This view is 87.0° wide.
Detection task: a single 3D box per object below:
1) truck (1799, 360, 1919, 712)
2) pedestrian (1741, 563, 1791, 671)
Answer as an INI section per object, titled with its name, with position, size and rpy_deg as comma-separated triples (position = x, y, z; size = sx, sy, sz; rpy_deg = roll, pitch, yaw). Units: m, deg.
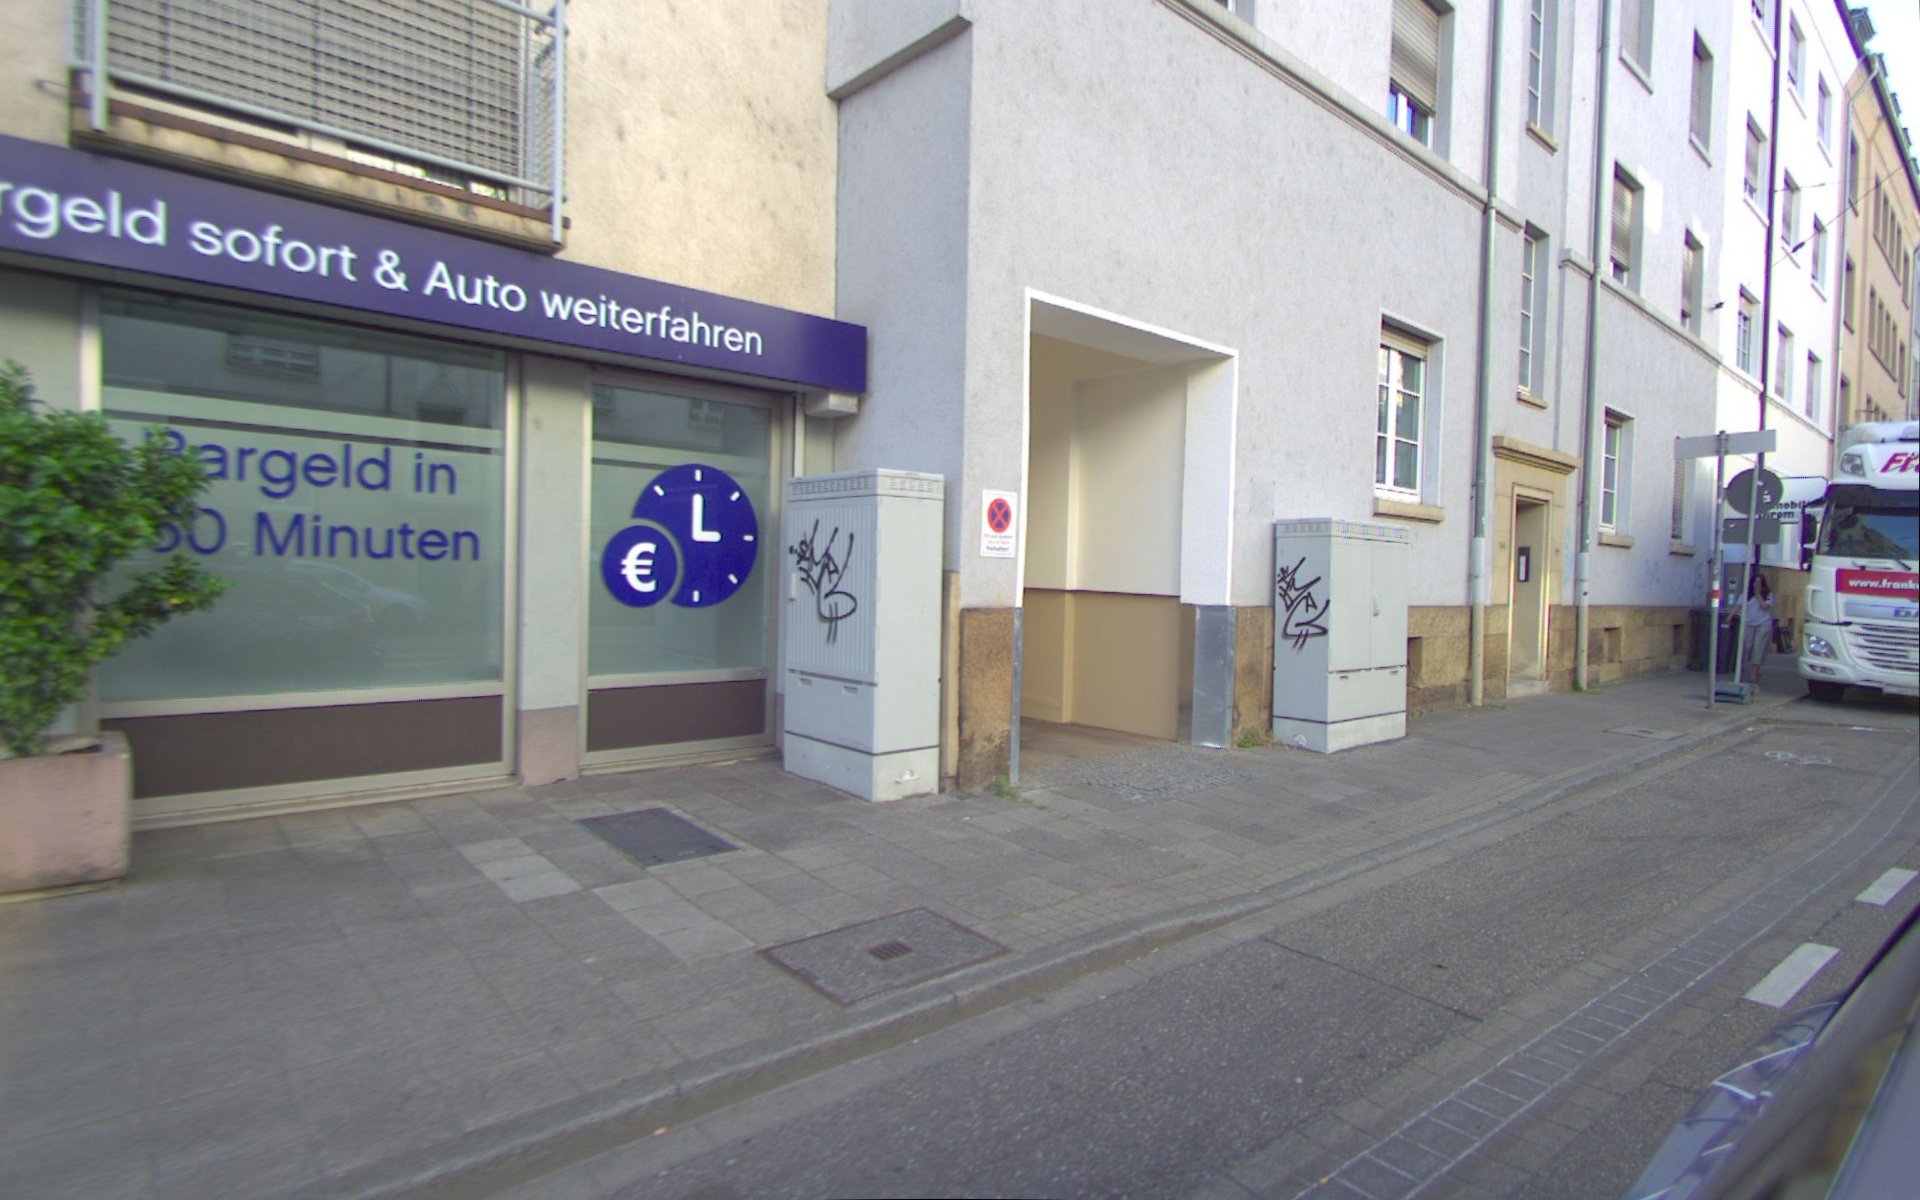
[truck]
position = 16.262, -0.872, 15.932
size = 11.571, 4.290, 2.699
rpy_deg = -1, 2, -41
[pedestrian]
position = 12.679, 0.251, 15.923
size = 0.459, 1.649, 0.475
rpy_deg = 0, 2, -39
